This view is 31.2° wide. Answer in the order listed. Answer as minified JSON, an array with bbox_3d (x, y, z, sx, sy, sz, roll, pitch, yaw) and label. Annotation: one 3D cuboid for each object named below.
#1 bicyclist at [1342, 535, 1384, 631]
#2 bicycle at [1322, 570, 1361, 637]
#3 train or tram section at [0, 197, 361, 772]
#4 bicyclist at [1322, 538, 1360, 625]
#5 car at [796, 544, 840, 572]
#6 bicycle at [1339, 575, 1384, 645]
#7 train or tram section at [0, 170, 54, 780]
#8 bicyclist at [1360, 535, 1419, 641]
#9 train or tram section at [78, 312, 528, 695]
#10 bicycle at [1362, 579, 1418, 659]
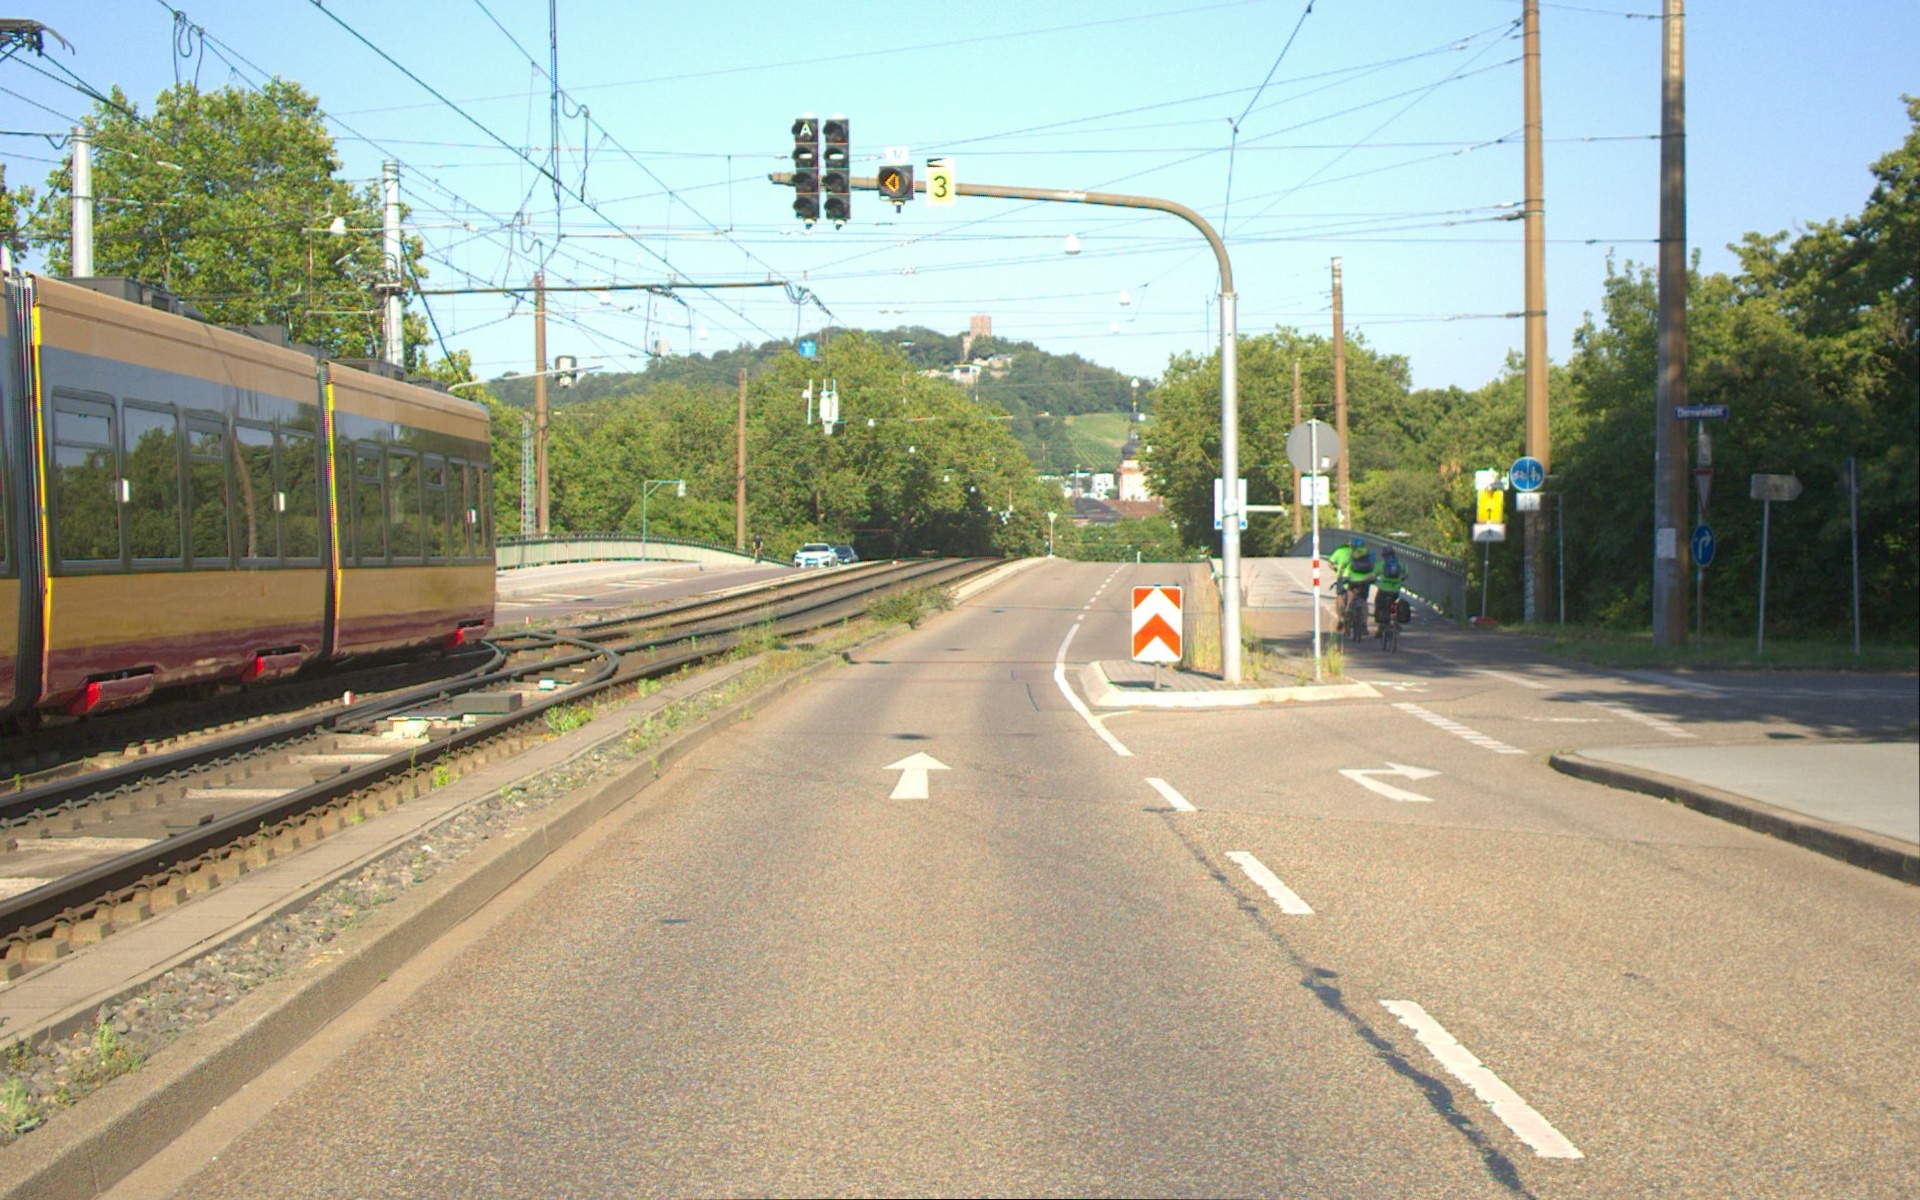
[{"bbox_3d":[6.732,-0.282,57.421,0.625,1.587,0.931,0,1,3],"label":"bicyclist"},{"bbox_3d":[6.694,0.054,60.301,0.625,1.118,2.259,0,1,8],"label":"bicycle"},{"bbox_3d":[-7.564,-0.865,29.072,2.976,3.887,11.665,0,1,0],"label":"train or tram section"},{"bbox_3d":[6.689,-0.327,60.324,0.625,1.503,1.006,0,1,8],"label":"bicyclist"},{"bbox_3d":[-7.072,-2.110,171.160,1.684,1.351,4.920,0,1,4],"label":"car"},{"bbox_3d":[6.678,0.156,57.199,0.625,1.118,2.042,0,1,3],"label":"bicycle"},{"bbox_3d":[-7.618,-0.721,16.679,3.004,3.887,13.081,0,1,0],"label":"train or tram section"},{"bbox_3d":[6.471,-0.190,51.851,0.812,1.557,0.896,0,2,4],"label":"bicyclist"},{"bbox_3d":[-7.472,-1.066,41.253,2.978,3.887,12.702,0,1,0],"label":"train or tram section"},{"bbox_3d":[6.479,0.276,51.884,0.683,1.118,2.216,0,2,3],"label":"bicycle"}]
